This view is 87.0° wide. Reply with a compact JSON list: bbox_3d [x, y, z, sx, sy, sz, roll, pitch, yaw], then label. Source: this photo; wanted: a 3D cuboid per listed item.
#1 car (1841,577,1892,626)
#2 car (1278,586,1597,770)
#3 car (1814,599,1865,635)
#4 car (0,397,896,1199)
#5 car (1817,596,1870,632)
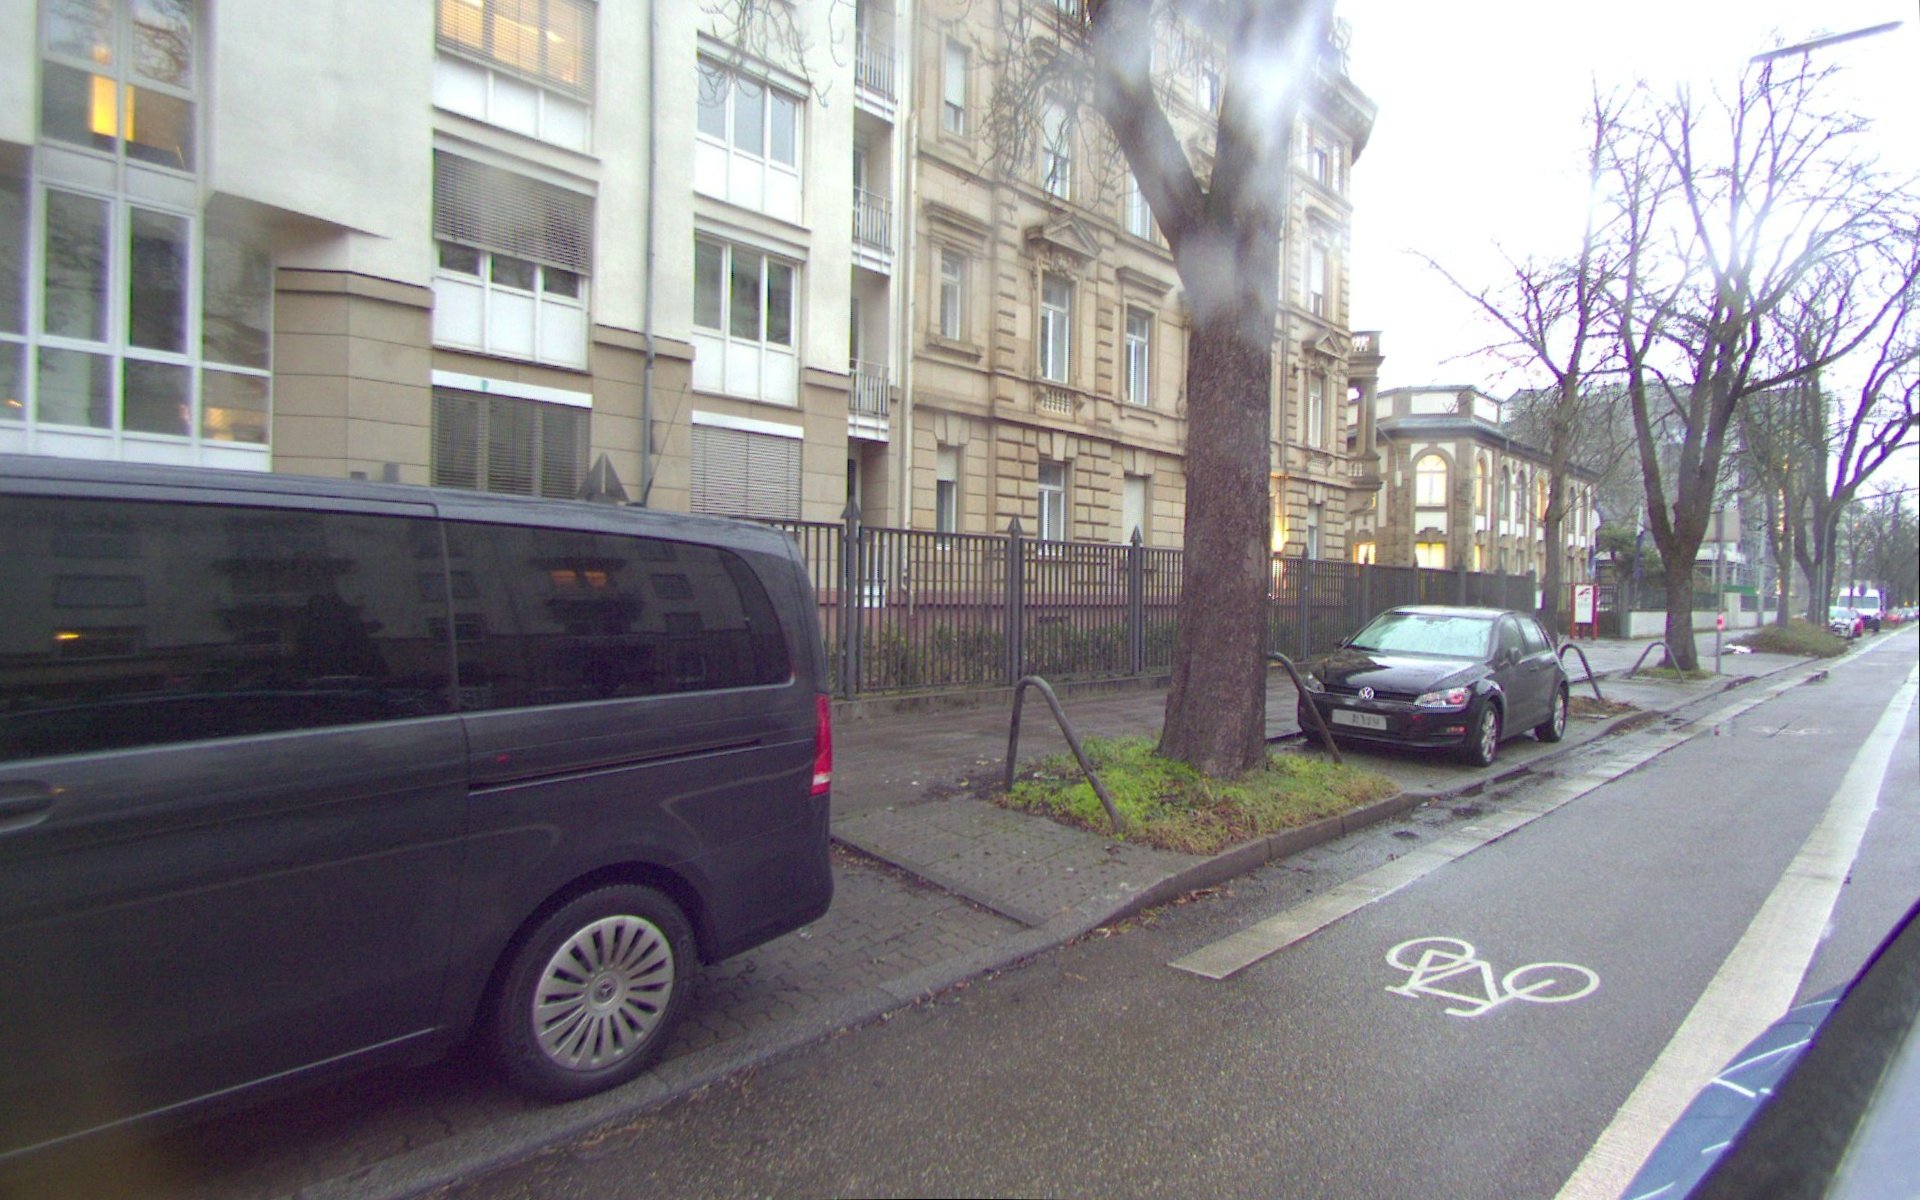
[{"bbox_3d":[52.105,0.041,58.181,2.086,2.670,5.367,0,1,42],"label":"car"},{"bbox_3d":[5.130,0.666,10.597,1.758,1.463,4.091,4,2,44],"label":"car"},{"bbox_3d":[38.288,0.708,44.020,1.623,1.425,3.939,0,1,42],"label":"car"},{"bbox_3d":[-2.690,0.504,2.754,4.882,1.899,2.032,0,2,-45],"label":"car"},{"bbox_3d":[44.927,0.695,51.443,1.992,1.703,3.939,0,1,42],"label":"car"}]
